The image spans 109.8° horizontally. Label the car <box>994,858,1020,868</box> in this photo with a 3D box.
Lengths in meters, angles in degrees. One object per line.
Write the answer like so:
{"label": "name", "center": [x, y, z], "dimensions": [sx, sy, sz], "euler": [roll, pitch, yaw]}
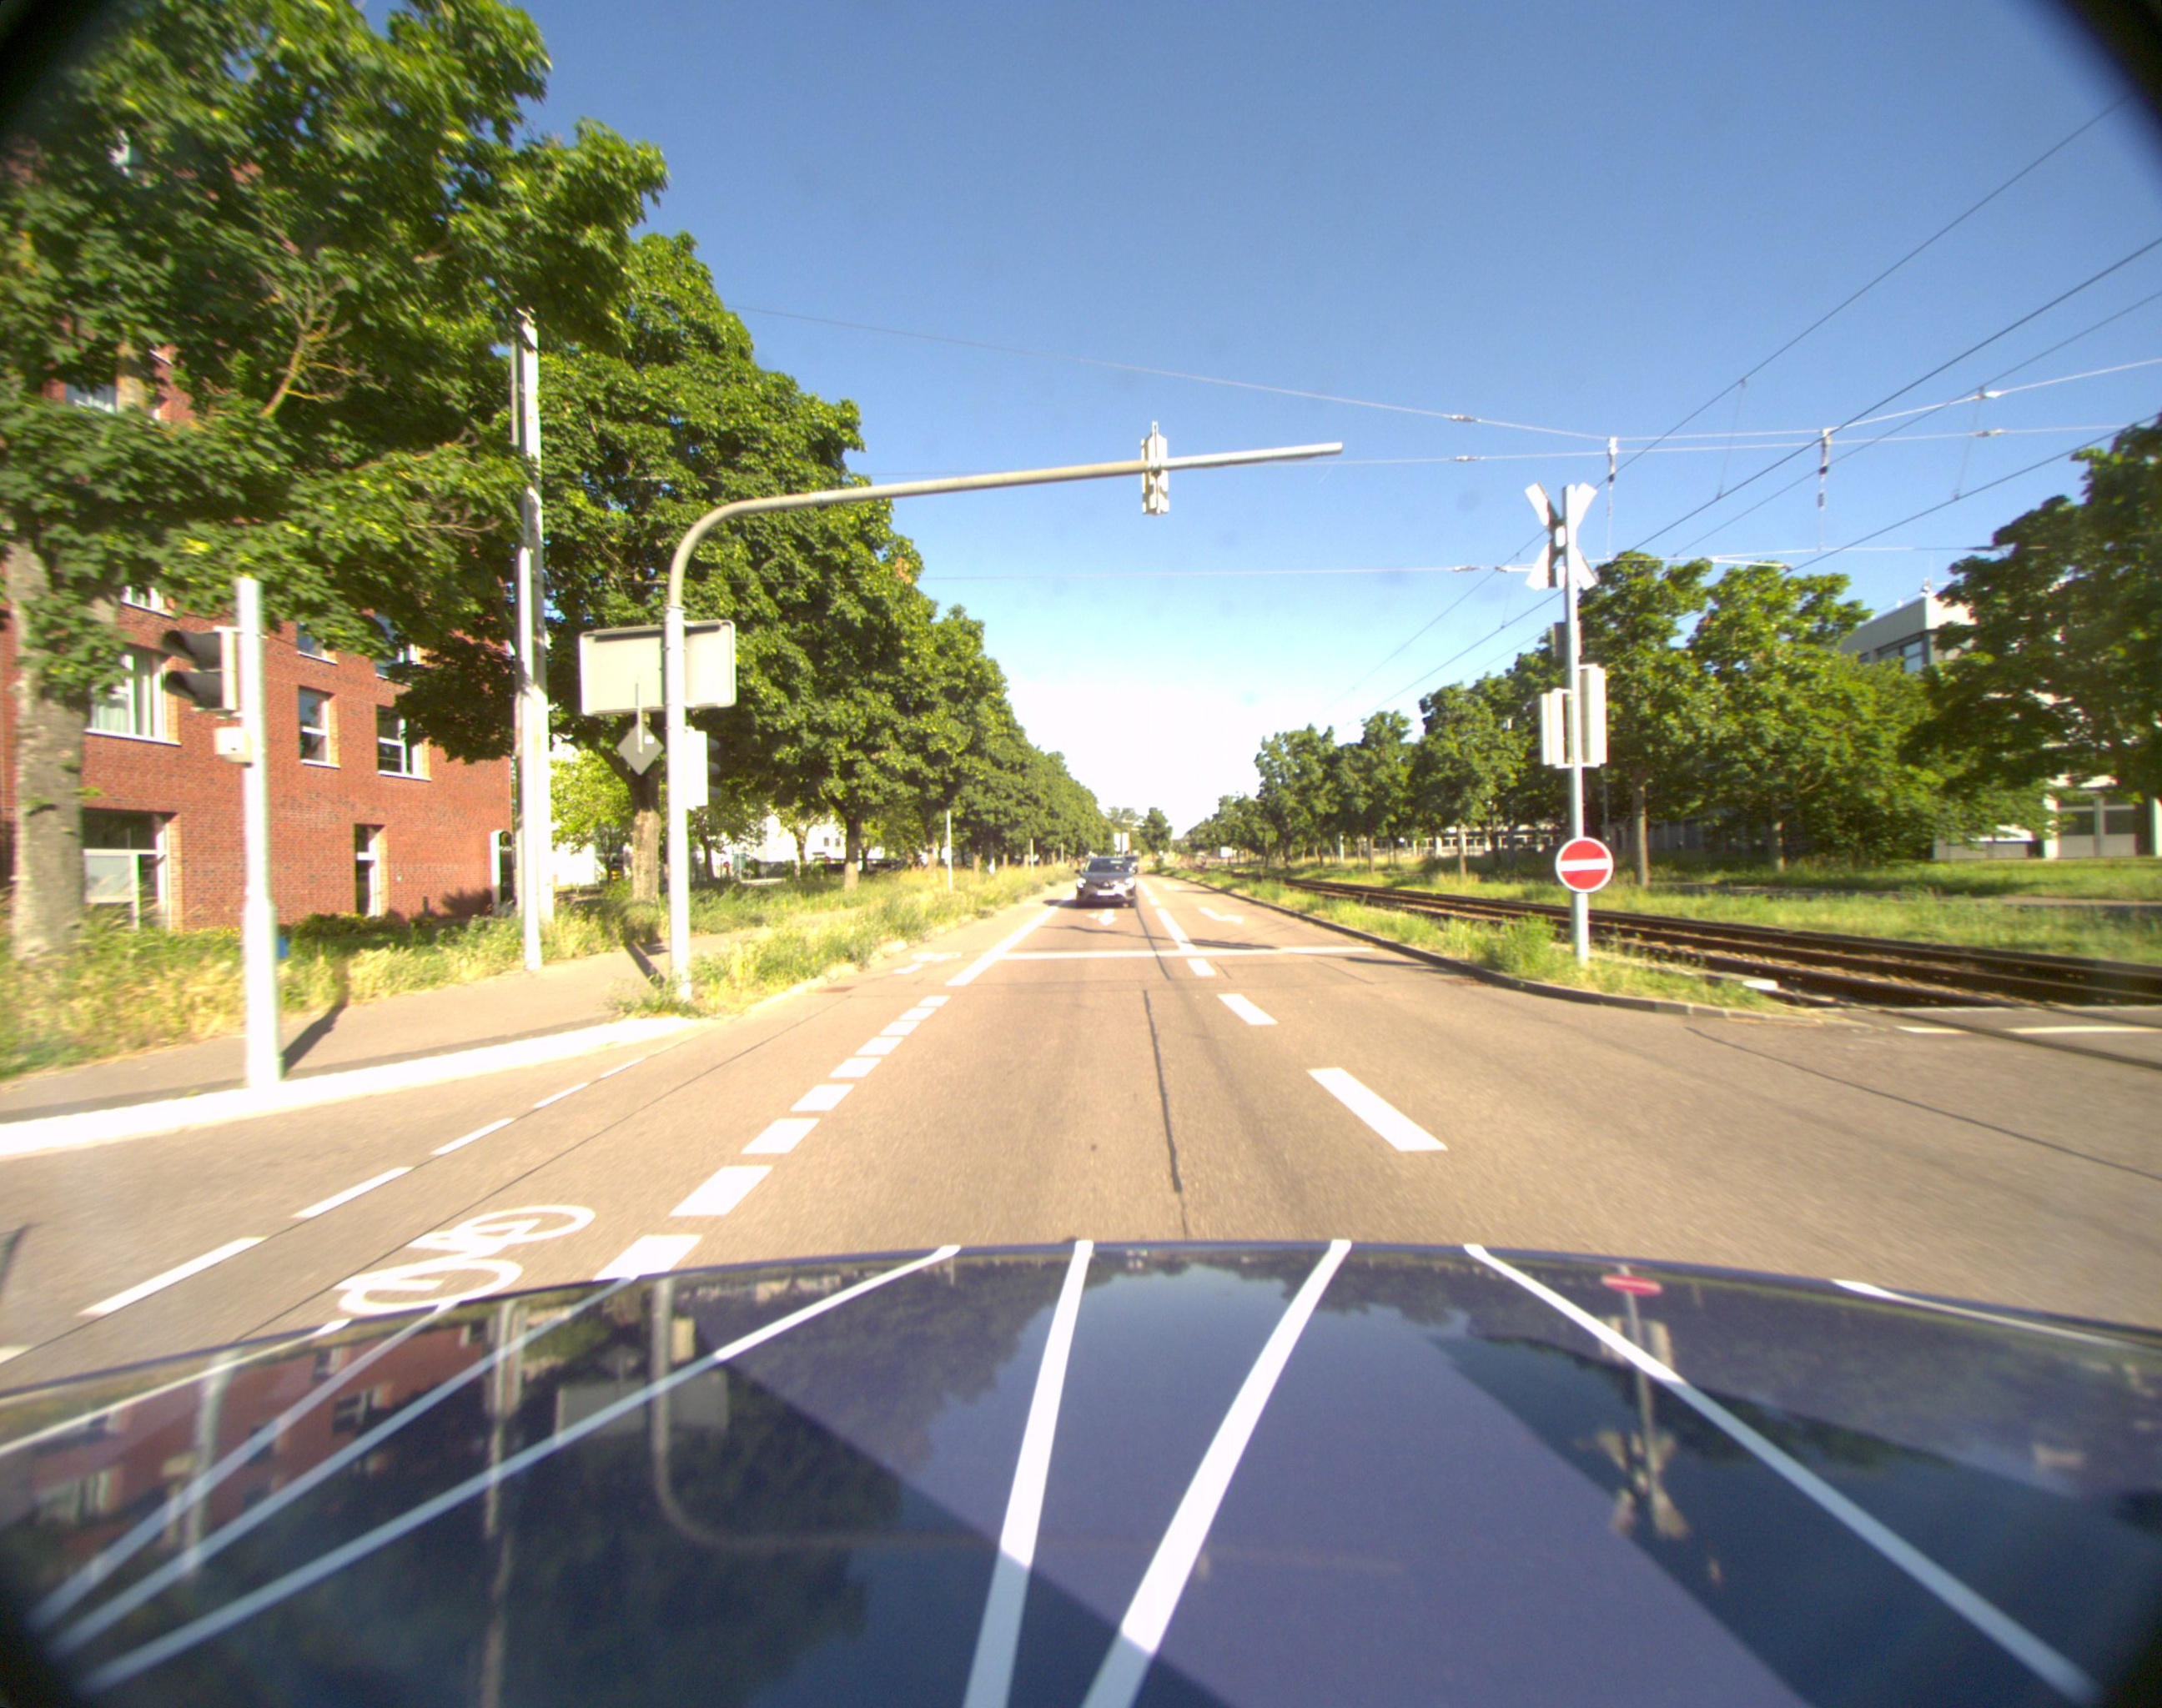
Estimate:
{"label": "car", "center": [-12.727, 1.559, 130.877], "dimensions": [4.347, 1.690, 1.765], "euler": [0, 0, -4]}

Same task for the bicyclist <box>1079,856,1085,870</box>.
{"label": "bicyclist", "center": [0.150, 1.180, 98.784], "dimensions": [0.684, 1.710, 0.903], "euler": [-1, 1, 5]}

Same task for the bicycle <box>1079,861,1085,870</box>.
{"label": "bicycle", "center": [0.141, 1.484, 98.628], "dimensions": [0.484, 1.197, 2.144], "euler": [-2, 1, 6]}

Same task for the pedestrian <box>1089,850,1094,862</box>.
{"label": "pedestrian", "center": [1.731, 0.345, 122.405], "dimensions": [0.710, 1.906, 0.816], "euler": [-2, 0, -3]}

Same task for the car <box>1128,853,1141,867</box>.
{"label": "car", "center": [6.877, 0.799, 98.148], "dimensions": [1.554, 1.764, 3.458], "euler": [-1, 0, 6]}

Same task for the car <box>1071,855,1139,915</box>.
{"label": "car", "center": [0.834, 0.867, 23.279], "dimensions": [1.749, 1.585, 4.248], "euler": [-1, 1, 6]}

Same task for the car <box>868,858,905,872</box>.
{"label": "car", "center": [-28.126, 1.631, 109.975], "dimensions": [4.759, 1.938, 1.975], "euler": [-1, 0, 5]}

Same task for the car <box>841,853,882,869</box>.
{"label": "car", "center": [-28.141, 0.876, 97.378], "dimensions": [4.594, 2.002, 1.959], "euler": [-1, 0, 7]}

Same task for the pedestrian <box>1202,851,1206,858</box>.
{"label": "pedestrian", "center": [28.542, 0.093, 176.230], "dimensions": [0.785, 1.741, 0.782], "euler": [-2, 0, 6]}

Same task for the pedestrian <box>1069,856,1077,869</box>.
{"label": "pedestrian", "center": [-1.009, 1.106, 95.174], "dimensions": [0.826, 1.560, 0.762], "euler": [-2, 0, 7]}

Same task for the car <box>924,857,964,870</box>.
{"label": "car", "center": [-16.206, 1.163, 89.948], "dimensions": [4.173, 1.423, 1.826], "euler": [-2, 0, 9]}

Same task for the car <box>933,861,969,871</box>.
{"label": "car", "center": [-17.422, 1.633, 101.927], "dimensions": [4.300, 1.316, 1.942], "euler": [-1, -1, 10]}

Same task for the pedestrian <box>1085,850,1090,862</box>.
{"label": "pedestrian", "center": [0.968, 0.362, 122.406], "dimensions": [0.710, 1.919, 0.816], "euler": [-2, 0, -2]}

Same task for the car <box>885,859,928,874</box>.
{"label": "car", "center": [-18.698, 1.318, 81.483], "dimensions": [4.038, 1.496, 1.739], "euler": [-1, 0, 6]}
